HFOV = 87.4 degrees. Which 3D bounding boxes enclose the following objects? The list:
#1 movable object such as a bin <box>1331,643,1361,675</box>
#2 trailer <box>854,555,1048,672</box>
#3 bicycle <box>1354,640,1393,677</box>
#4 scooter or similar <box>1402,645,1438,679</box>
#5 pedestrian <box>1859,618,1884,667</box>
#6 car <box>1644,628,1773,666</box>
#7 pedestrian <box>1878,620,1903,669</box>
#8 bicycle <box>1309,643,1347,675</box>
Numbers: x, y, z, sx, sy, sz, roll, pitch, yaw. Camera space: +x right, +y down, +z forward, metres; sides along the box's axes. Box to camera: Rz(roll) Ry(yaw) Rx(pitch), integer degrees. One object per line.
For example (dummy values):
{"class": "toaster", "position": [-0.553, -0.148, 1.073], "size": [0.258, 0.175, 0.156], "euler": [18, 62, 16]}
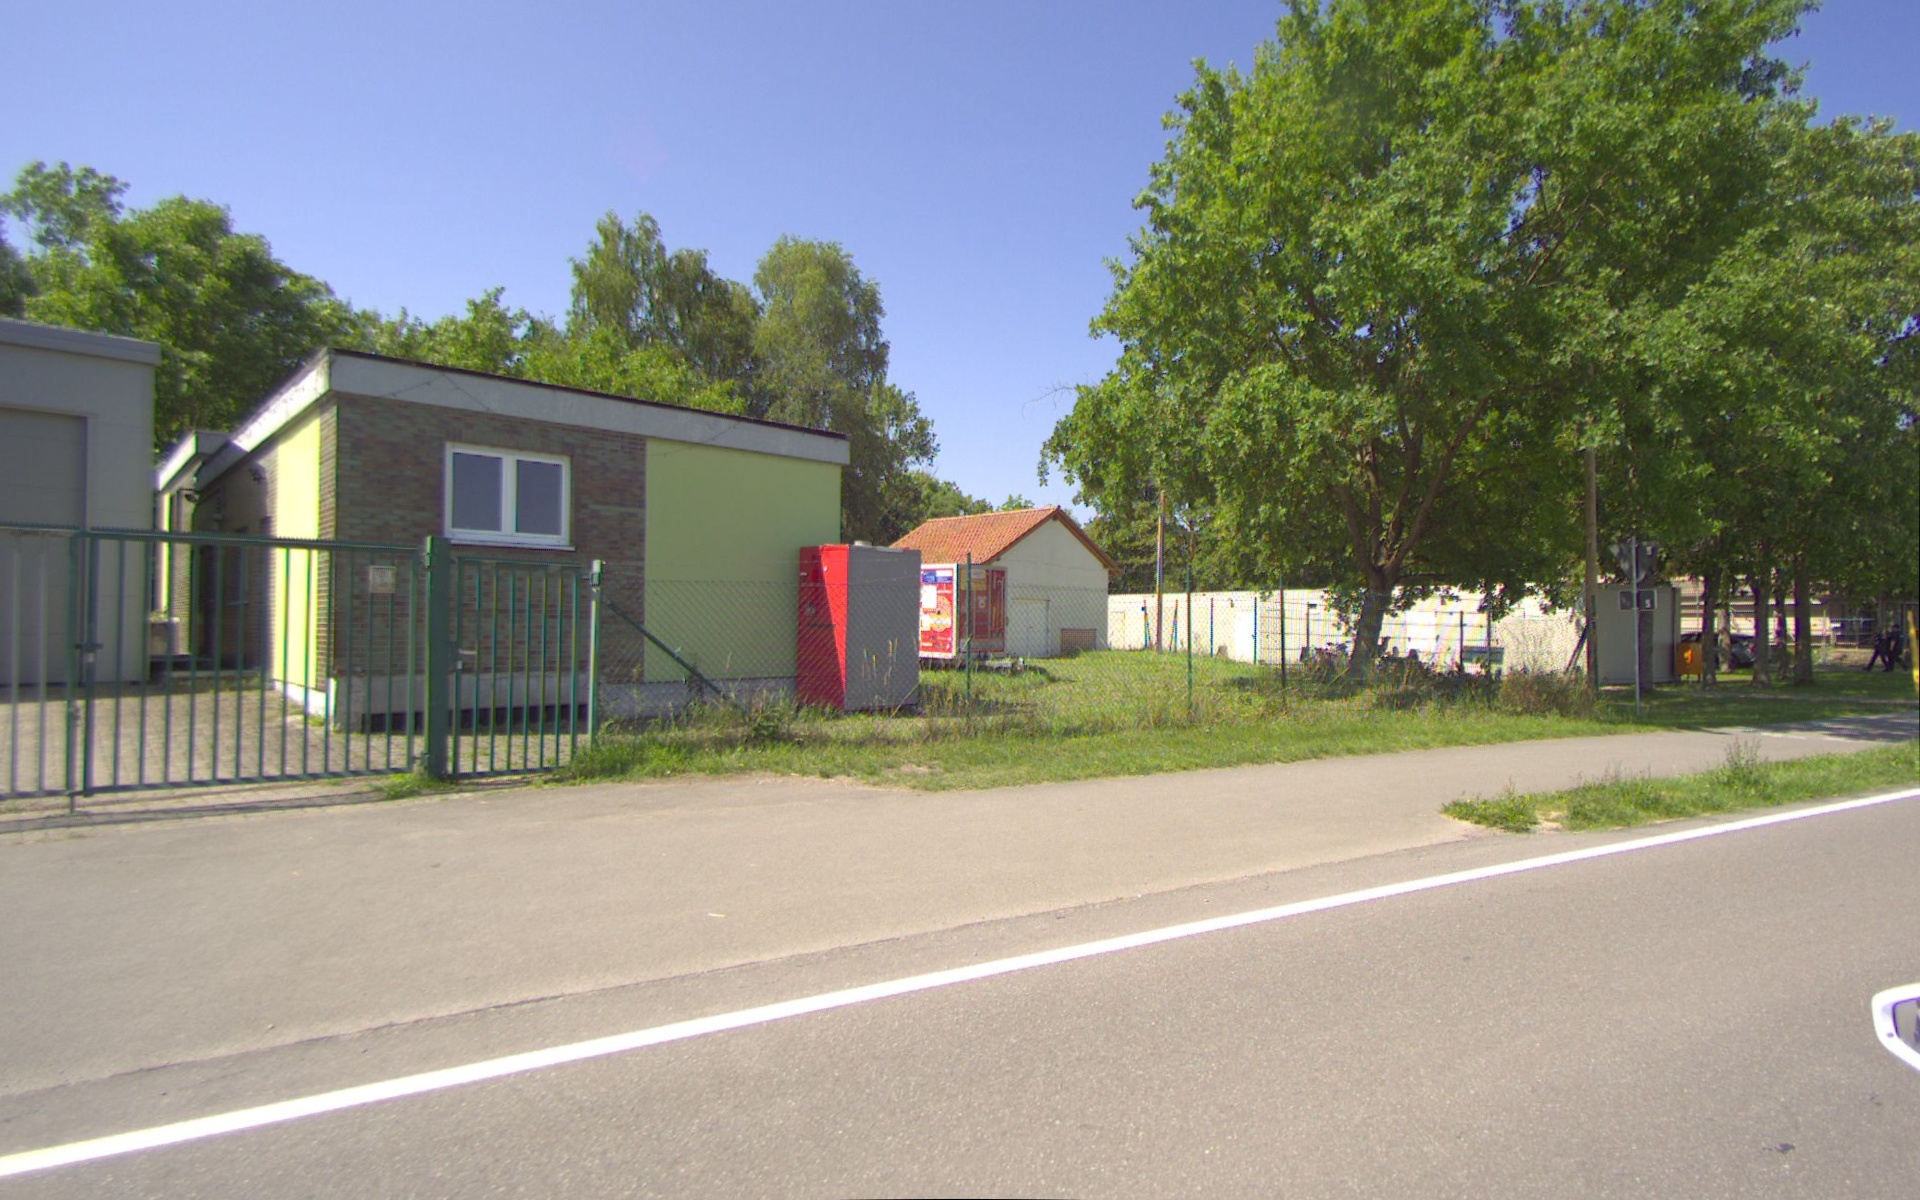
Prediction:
{"class": "movable object such as a bin", "position": [12.871, 1.957, 33.475], "size": [0.657, 1.027, 0.690], "euler": [1, -2, -34]}
{"class": "trailer", "position": [-0.276, 0.317, 21.871], "size": [4.179, 2.307, 1.818], "euler": [-1, -2, 44]}
{"class": "bicycle", "position": [14.014, 1.973, 34.053], "size": [0.419, 1.229, 1.233], "euler": [1, -2, -32]}
{"class": "scooter or similar", "position": [14.134, 1.901, 30.878], "size": [0.529, 1.010, 0.888], "euler": [1, -2, -35]}
{"class": "pedestrian", "position": [33.443, 1.559, 36.840], "size": [0.582, 1.774, 0.598], "euler": [1, -2, -39]}
{"class": "car", "position": [29.613, 1.827, 39.831], "size": [1.743, 1.417, 3.773], "euler": [1, -2, -37]}
{"class": "pedestrian", "position": [34.163, 1.630, 36.889], "size": [0.582, 1.774, 0.598], "euler": [1, -2, -39]}
{"class": "bicycle", "position": [12.934, 2.065, 35.318], "size": [0.500, 1.096, 1.234], "euler": [1, -2, -31]}
